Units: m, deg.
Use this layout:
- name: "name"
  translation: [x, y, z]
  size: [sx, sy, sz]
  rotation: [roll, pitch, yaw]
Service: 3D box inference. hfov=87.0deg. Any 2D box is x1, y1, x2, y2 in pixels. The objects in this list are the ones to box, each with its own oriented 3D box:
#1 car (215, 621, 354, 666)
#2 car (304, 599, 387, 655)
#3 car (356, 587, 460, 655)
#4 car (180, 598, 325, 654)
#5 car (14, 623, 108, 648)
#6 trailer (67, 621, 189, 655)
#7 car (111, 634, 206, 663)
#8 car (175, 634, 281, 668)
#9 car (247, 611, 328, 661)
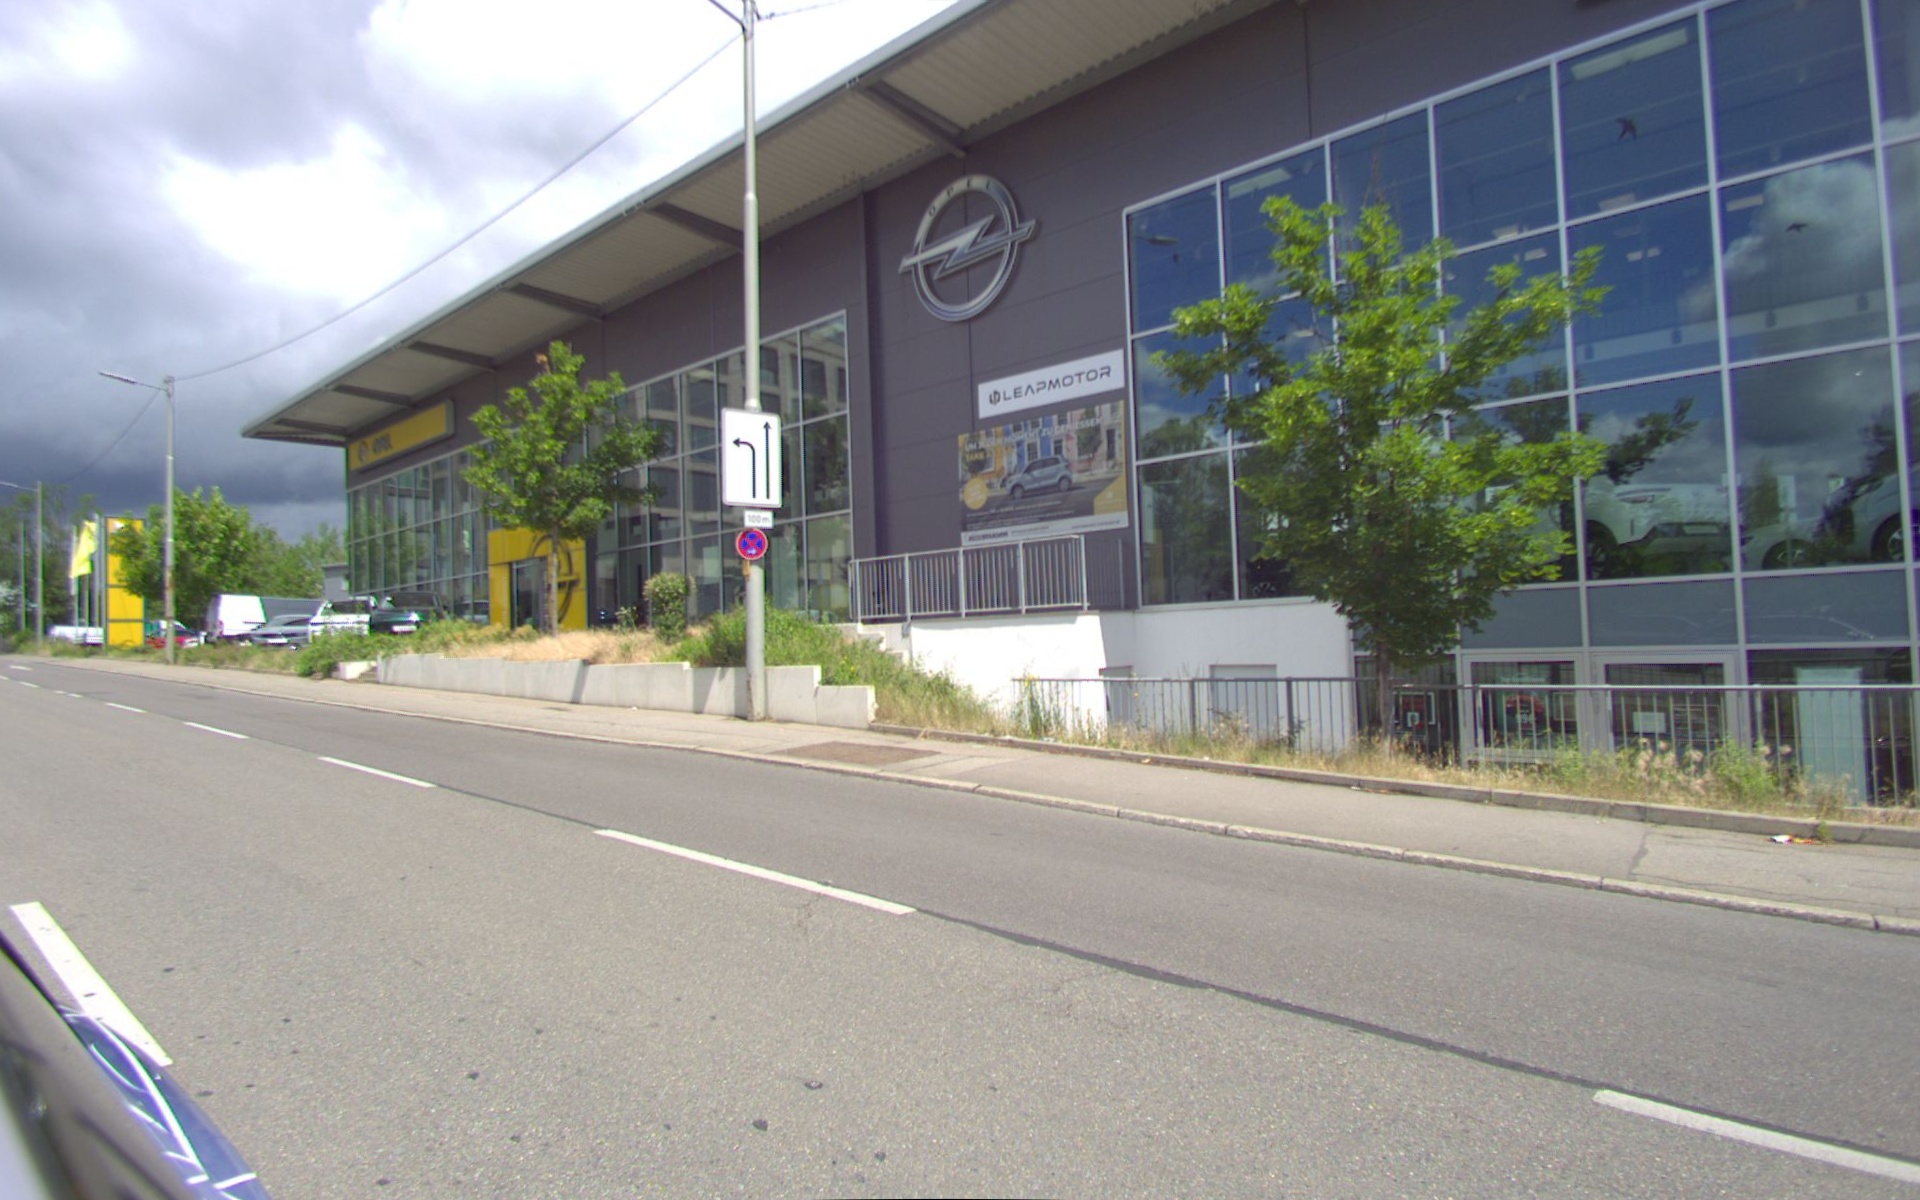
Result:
- name: "car"
  translation: [-25.734, 1.642, 38.681]
  size: [1.792, 1.625, 4.064]
  rotation: [-2, -2, 32]
- name: "car"
  translation: [-19.209, 0.836, 31.803]
  size: [1.767, 1.625, 4.122]
  rotation: [0, -1, -25]
- name: "car"
  translation: [-15.557, 0.620, 28.732]
  size: [1.791, 1.625, 4.121]
  rotation: [-5, 0, -19]
- name: "car"
  translation: [-29.275, 1.062, 41.970]
  size: [2.176, 2.211, 4.478]
  rotation: [-1, -1, 37]
- name: "car"
  translation: [-57.682, 2.267, 64.990]
  size: [2.093, 1.493, 4.200]
  rotation: [-2, -2, 38]
- name: "trailer"
  translation: [-45.326, 2.030, 55.236]
  size: [2.092, 1.765, 4.776]
  rotation: [-2, -2, 37]
- name: "car"
  translation: [-42.021, 2.529, 53.107]
  size: [1.814, 1.420, 3.621]
  rotation: [-2, -2, 42]
- name: "car"
  translation: [-35.527, 2.449, 49.171]
  size: [1.559, 1.539, 3.897]
  rotation: [-2, -2, 38]
- name: "car"
  translation: [-23.332, 1.238, 35.254]
  size: [1.767, 1.625, 4.122]
  rotation: [1, -2, -26]
